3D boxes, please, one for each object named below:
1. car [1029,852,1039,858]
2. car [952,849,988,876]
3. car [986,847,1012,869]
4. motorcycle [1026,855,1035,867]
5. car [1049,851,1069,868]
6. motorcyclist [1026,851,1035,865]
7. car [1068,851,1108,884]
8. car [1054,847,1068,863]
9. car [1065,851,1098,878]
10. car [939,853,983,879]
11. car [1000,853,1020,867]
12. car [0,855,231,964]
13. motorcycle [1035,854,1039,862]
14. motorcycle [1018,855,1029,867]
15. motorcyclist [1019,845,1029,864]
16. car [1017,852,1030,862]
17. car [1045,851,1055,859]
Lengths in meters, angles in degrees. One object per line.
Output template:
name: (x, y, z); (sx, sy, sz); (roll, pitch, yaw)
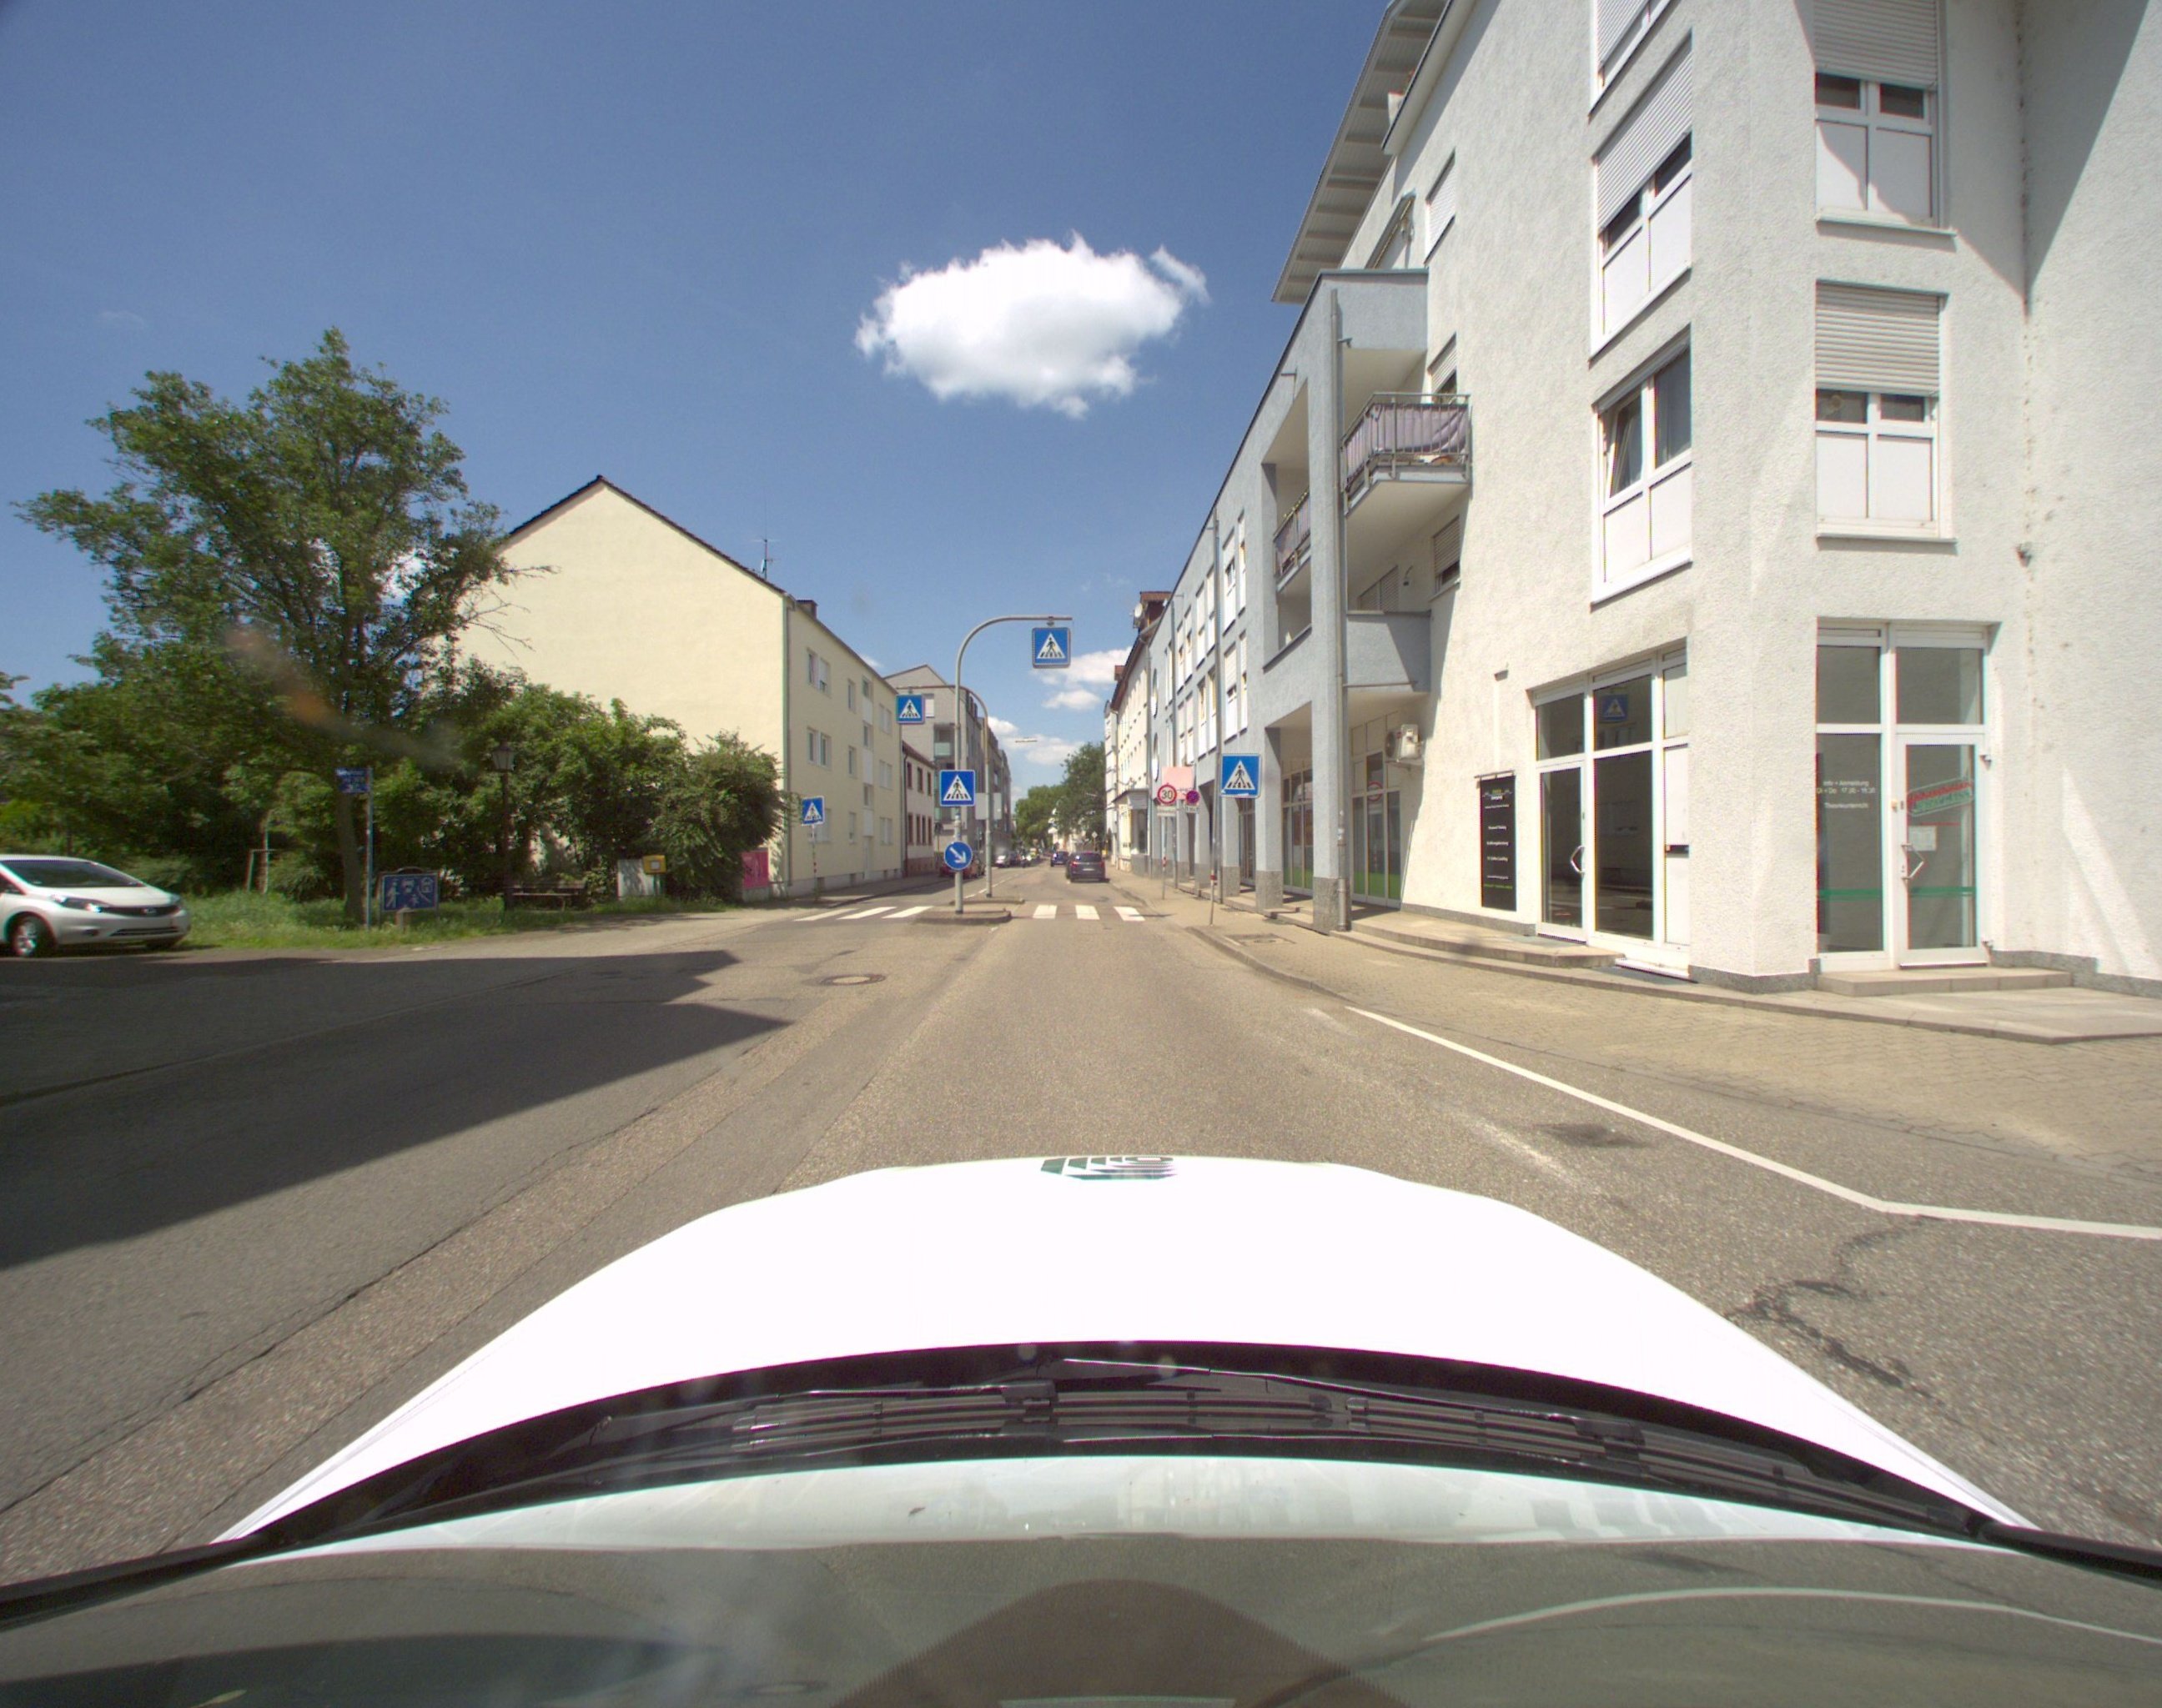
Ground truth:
car: (-10.476, 0.225, 182.642); (1.987, 1.381, 4.392); (1, 0, 0)
car: (-7.053, 0.545, 51.952); (1.789, 1.646, 3.943); (1, 0, -1)
car: (-7.464, 0.363, 74.662); (1.750, 1.892, 4.339); (2, 0, 2)
motorcycle: (-5.210, 0.741, 84.274); (0.893, 1.176, 2.207); (0, 0, -1)
car: (-2.018, 0.473, 74.878); (1.710, 1.402, 3.998); (-1, 1, -1)
motorcyclist: (-5.207, 0.380, 84.234); (0.913, 1.480, 1.202); (0, 0, -2)
car: (0.288, 0.610, 39.701); (1.706, 1.508, 3.995); (-1, 0, -3)
car: (-2.616, 0.089, 108.734); (1.834, 2.013, 3.998); (-1, 1, -1)
car: (-0.023, 0.558, 45.892); (1.724, 1.420, 4.542); (-1, 0, -2)
car: (-6.880, 0.648, 47.004); (1.827, 1.417, 4.290); (0, 0, 1)
car: (-7.589, 0.602, 87.481); (1.718, 1.456, 4.004); (1, 0, 0)
car: (-16.099, 0.791, 12.629); (3.970, 1.502, 1.871); (0, 0, 3)
motorcycle: (-6.824, 0.618, 126.264); (0.686, 1.122, 2.026); (-1, 0, -2)
motorcycle: (-5.145, 0.597, 73.409); (0.710, 1.028, 2.241); (-1, 1, 2)
motorcyclist: (-5.157, 0.036, 73.460); (0.710, 1.634, 1.069); (-1, 0, 2)
car: (-8.646, 0.439, 122.599); (1.728, 1.442, 3.997); (-1, 0, -2)
car: (-7.120, 0.233, 187.707); (1.992, 1.618, 3.989); (0, 0, -8)
